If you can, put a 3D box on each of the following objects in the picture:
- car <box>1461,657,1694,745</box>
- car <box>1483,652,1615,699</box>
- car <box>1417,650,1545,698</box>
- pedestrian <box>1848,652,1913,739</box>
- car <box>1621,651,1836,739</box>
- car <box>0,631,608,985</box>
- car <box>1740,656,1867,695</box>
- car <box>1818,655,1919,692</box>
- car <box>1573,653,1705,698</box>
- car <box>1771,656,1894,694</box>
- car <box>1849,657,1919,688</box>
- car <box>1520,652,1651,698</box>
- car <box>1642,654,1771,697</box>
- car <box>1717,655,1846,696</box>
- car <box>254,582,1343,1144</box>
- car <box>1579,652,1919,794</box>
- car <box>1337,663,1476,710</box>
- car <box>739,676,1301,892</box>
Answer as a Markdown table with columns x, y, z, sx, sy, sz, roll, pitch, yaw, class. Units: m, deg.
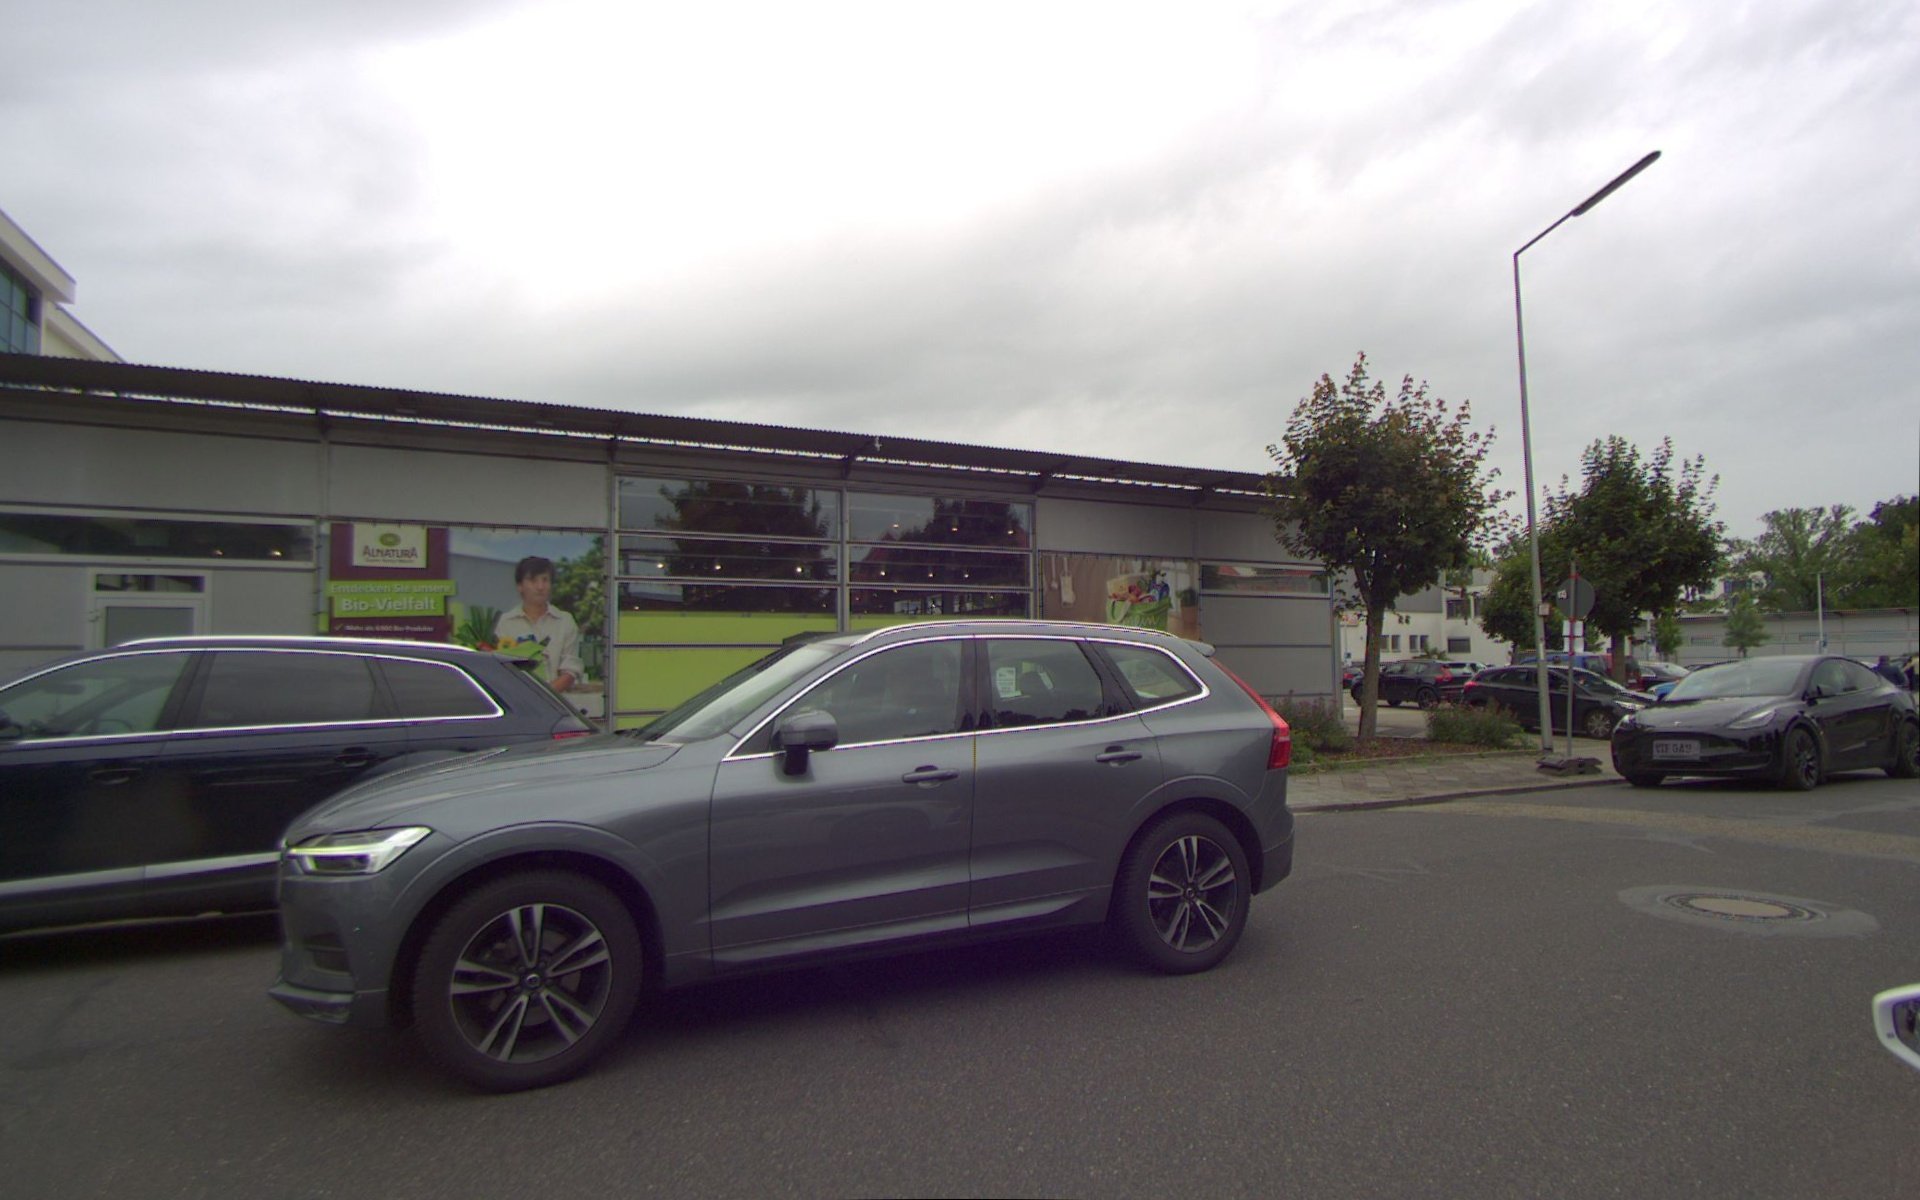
| x | y | z | sx | sy | sz | roll | pitch | yaw | class |
| --- | --- | --- | --- | --- | --- | --- | --- | --- | --- |
| 13.103 | 2.066 | 21.576 | 1.901 | 1.641 | 3.863 | 1 | -3 | -25 | car |
| 22.409 | 2.857 | 38.355 | 1.851 | 1.690 | 3.977 | 1 | -4 | -25 | car |
| 19.617 | 2.789 | 37.972 | 1.851 | 1.690 | 3.977 | 1 | -4 | -25 | car |
| 19.019 | 1.952 | 20.755 | 0.688 | 1.737 | 0.772 | 2 | -3 | -30 | pedestrian |
| 19.287 | 2.349 | 25.394 | 1.742 | 2.039 | 3.910 | 2 | -5 | -32 | car |
| -4.631 | 1.129 | 5.956 | 4.664 | 1.712 | 1.862 | 1 | -7 | -25 | car |
| 38.287 | 3.432 | 45.720 | 1.851 | 1.690 | 3.977 | 1 | -4 | -25 | car |
| 44.029 | 3.503 | 48.140 | 1.851 | 1.690 | 3.977 | 1 | -4 | -25 | car |
| 27.102 | 3.017 | 40.245 | 1.851 | 1.690 | 3.977 | 1 | -4 | -25 | car |
| 41.384 | 3.546 | 47.727 | 1.851 | 1.690 | 3.977 | 1 | -4 | -25 | car |
| 47.359 | 3.635 | 50.209 | 1.761 | 1.511 | 3.978 | 1 | -4 | -24 | car |
| 24.506 | 2.945 | 39.492 | 1.851 | 1.690 | 3.977 | 1 | -4 | -25 | car |
| 31.634 | 3.197 | 42.712 | 1.851 | 1.690 | 3.977 | 1 | -4 | -25 | car |
| 36.215 | 3.331 | 44.416 | 1.851 | 1.690 | 3.977 | 1 | -4 | -25 | car |
| -0.532 | 0.922 | 4.919 | 4.434 | 1.705 | 1.929 | 1 | -5 | -25 | car |
| 10.284 | 1.530 | 12.884 | 4.347 | 1.545 | 1.941 | 2 | -8 | -28 | car |
| 15.138 | 2.921 | 34.165 | 3.943 | 1.504 | 1.867 | -4 | -5 | 41 | car |
| 0.553 | 1.421 | 8.485 | 4.459 | 1.384 | 1.695 | 1 | -9 | -27 | car |
